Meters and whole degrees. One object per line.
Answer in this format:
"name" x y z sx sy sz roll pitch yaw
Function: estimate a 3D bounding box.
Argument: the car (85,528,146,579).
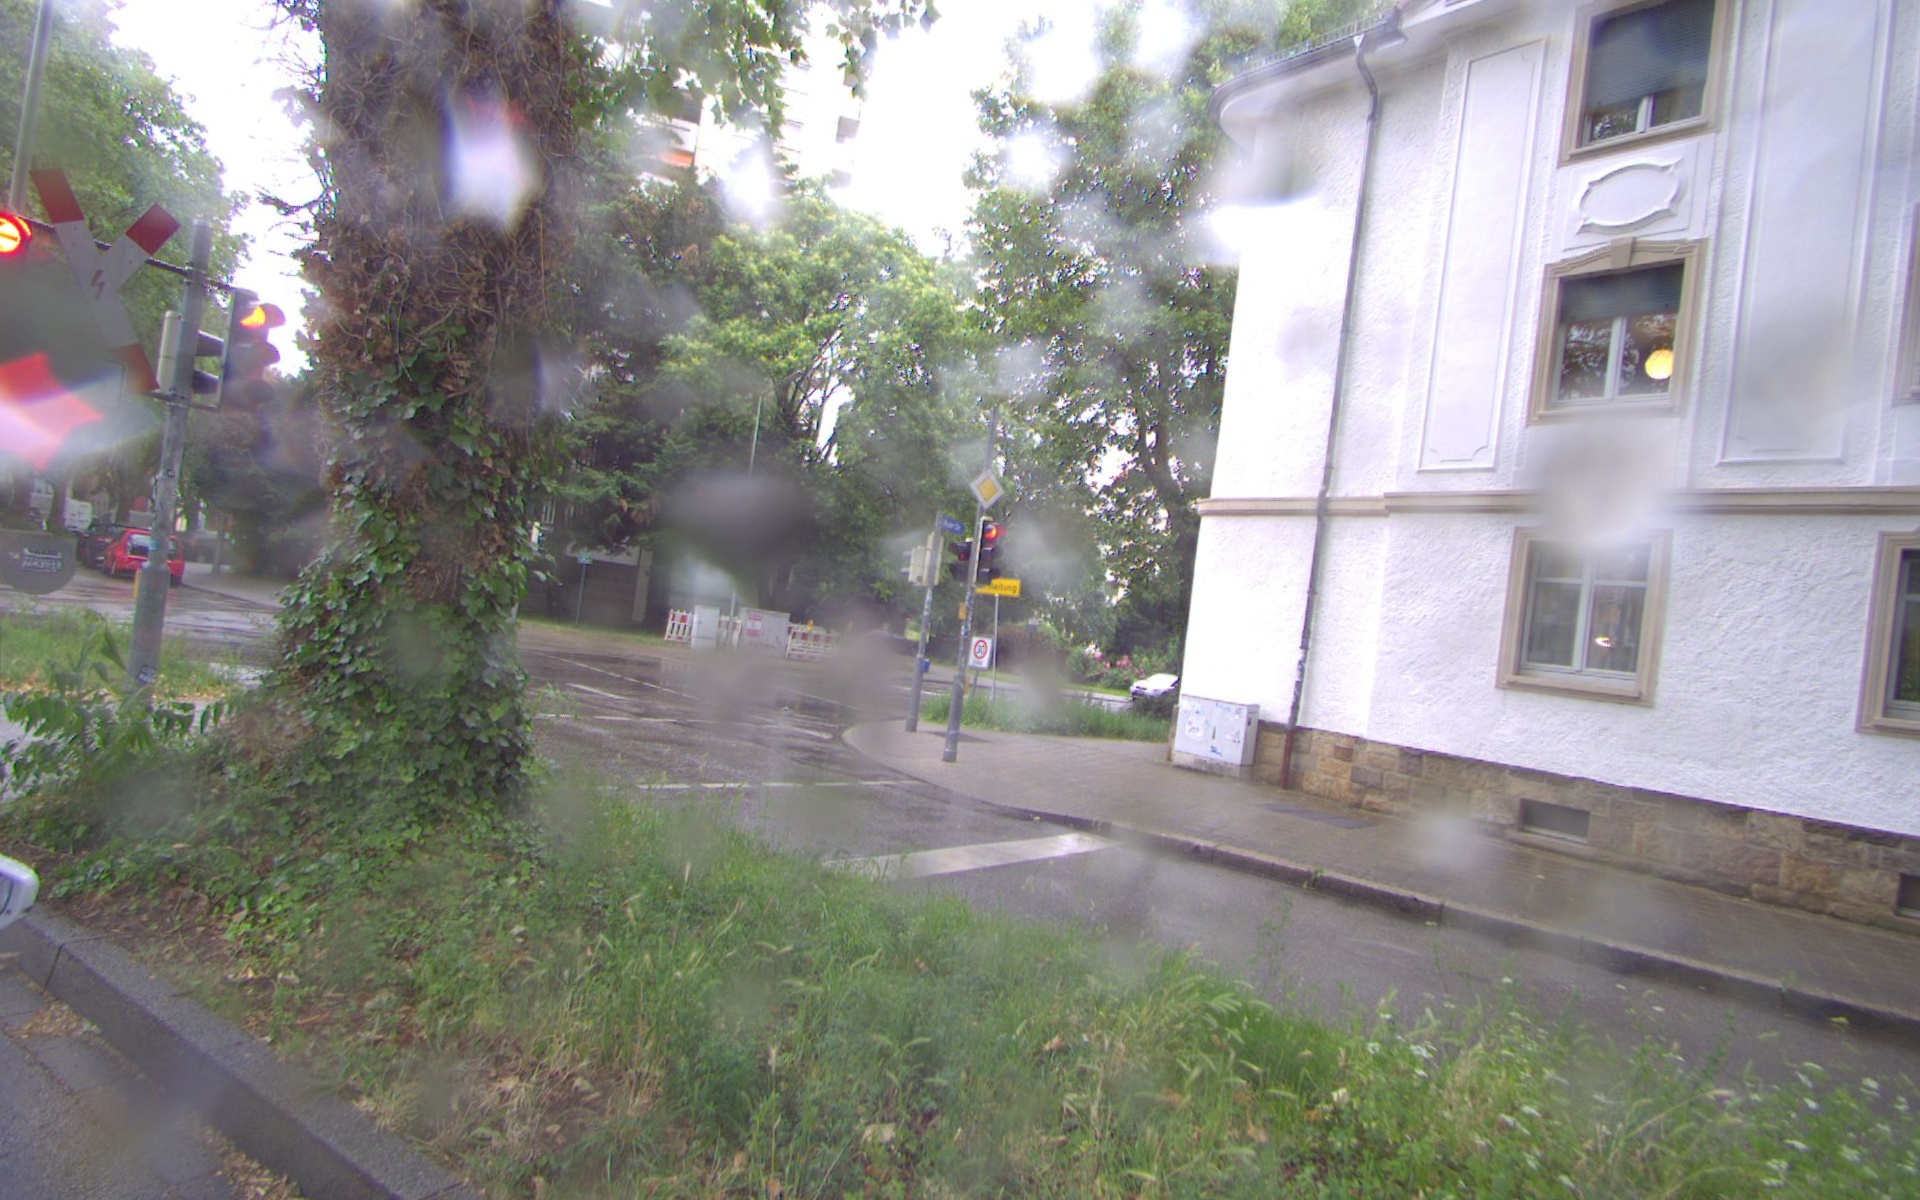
"car" -40.592 -2.248 48.321 1.986 2.038 3.953 7 0 -42

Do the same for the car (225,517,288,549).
"car" -57.222 -5.458 81.884 3.969 2.038 1.689 7 0 -39

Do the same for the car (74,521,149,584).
"car" -32.879 -1.860 38.938 1.986 2.038 3.953 7 0 -42

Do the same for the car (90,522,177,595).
"car" -27.898 -1.430 33.920 1.986 2.038 3.953 7 0 -42

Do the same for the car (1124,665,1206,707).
"car" 9.328 3.914 45.646 3.630 1.504 1.704 8 0 -43

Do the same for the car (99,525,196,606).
"car" -24.826 -1.077 30.694 1.986 2.038 3.953 7 0 -42
